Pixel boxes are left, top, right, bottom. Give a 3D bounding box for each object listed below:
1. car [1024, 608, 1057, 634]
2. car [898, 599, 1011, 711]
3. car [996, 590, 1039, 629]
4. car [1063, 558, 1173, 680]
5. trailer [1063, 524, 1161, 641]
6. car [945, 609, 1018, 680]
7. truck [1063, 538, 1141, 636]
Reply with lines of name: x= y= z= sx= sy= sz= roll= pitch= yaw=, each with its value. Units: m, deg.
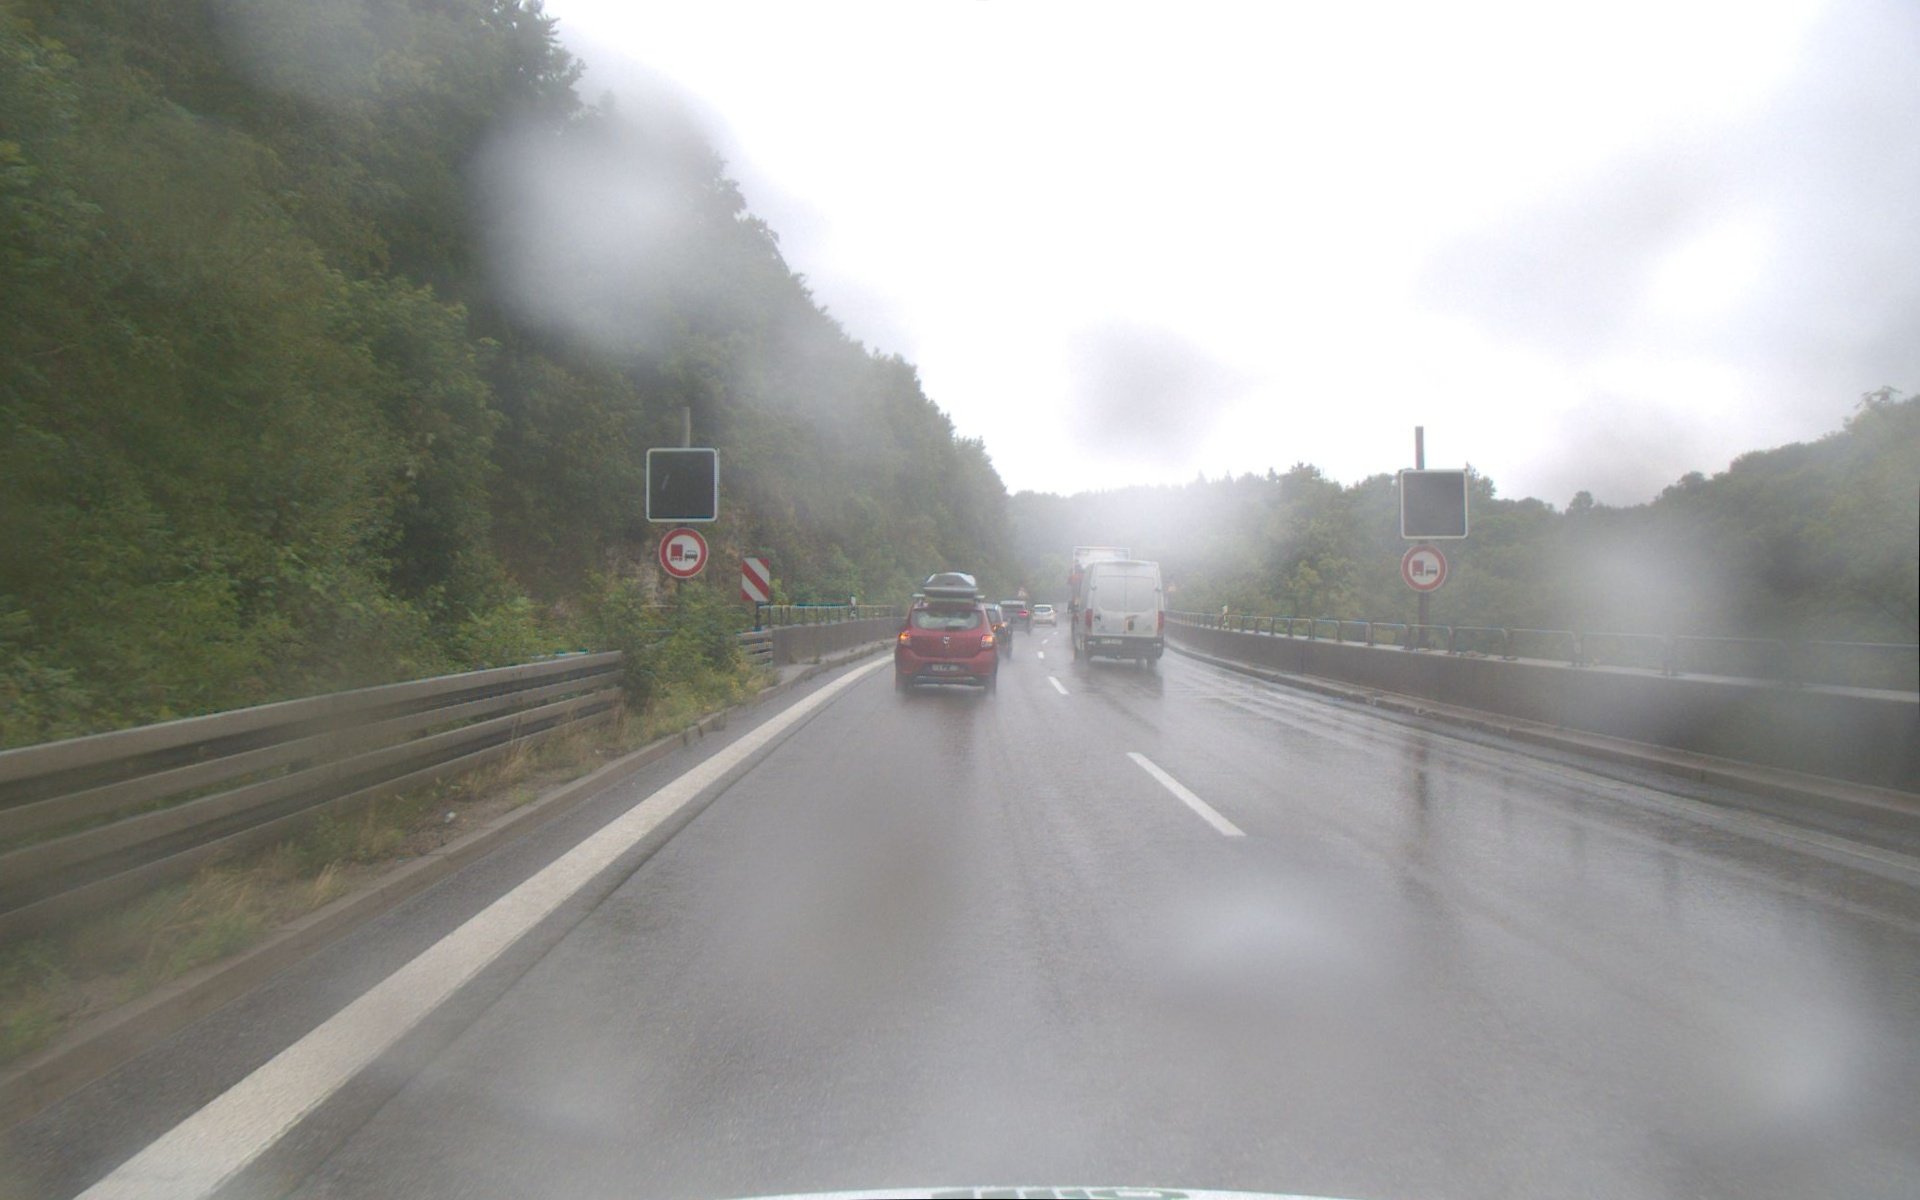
car: x=5.477 y=1.403 z=111.797 sx=1.951 sy=1.668 sz=4.002 roll=-2 pitch=-1 yaw=5
car: x=-0.127 y=0.896 z=28.348 sx=1.723 sy=1.714 sz=3.999 roll=-2 pitch=-1 yaw=-1
car: x=2.820 y=0.453 z=80.002 sx=1.835 sy=1.736 sz=3.890 roll=-2 pitch=-1 yaw=4
car: x=3.988 y=0.465 z=43.017 sx=2.161 sy=2.843 sz=7.382 roll=1 pitch=0 yaw=1
trailer: x=5.724 y=-0.573 z=64.378 sx=3.151 sy=4.069 sz=13.528 roll=0 pitch=0 yaw=3
car: x=0.572 y=1.166 z=44.417 sx=1.795 sy=1.745 sz=3.645 roll=-2 pitch=-1 yaw=0
truck: x=6.060 y=-0.536 z=71.259 sx=3.152 sy=4.048 sz=5.441 roll=0 pitch=0 yaw=3
